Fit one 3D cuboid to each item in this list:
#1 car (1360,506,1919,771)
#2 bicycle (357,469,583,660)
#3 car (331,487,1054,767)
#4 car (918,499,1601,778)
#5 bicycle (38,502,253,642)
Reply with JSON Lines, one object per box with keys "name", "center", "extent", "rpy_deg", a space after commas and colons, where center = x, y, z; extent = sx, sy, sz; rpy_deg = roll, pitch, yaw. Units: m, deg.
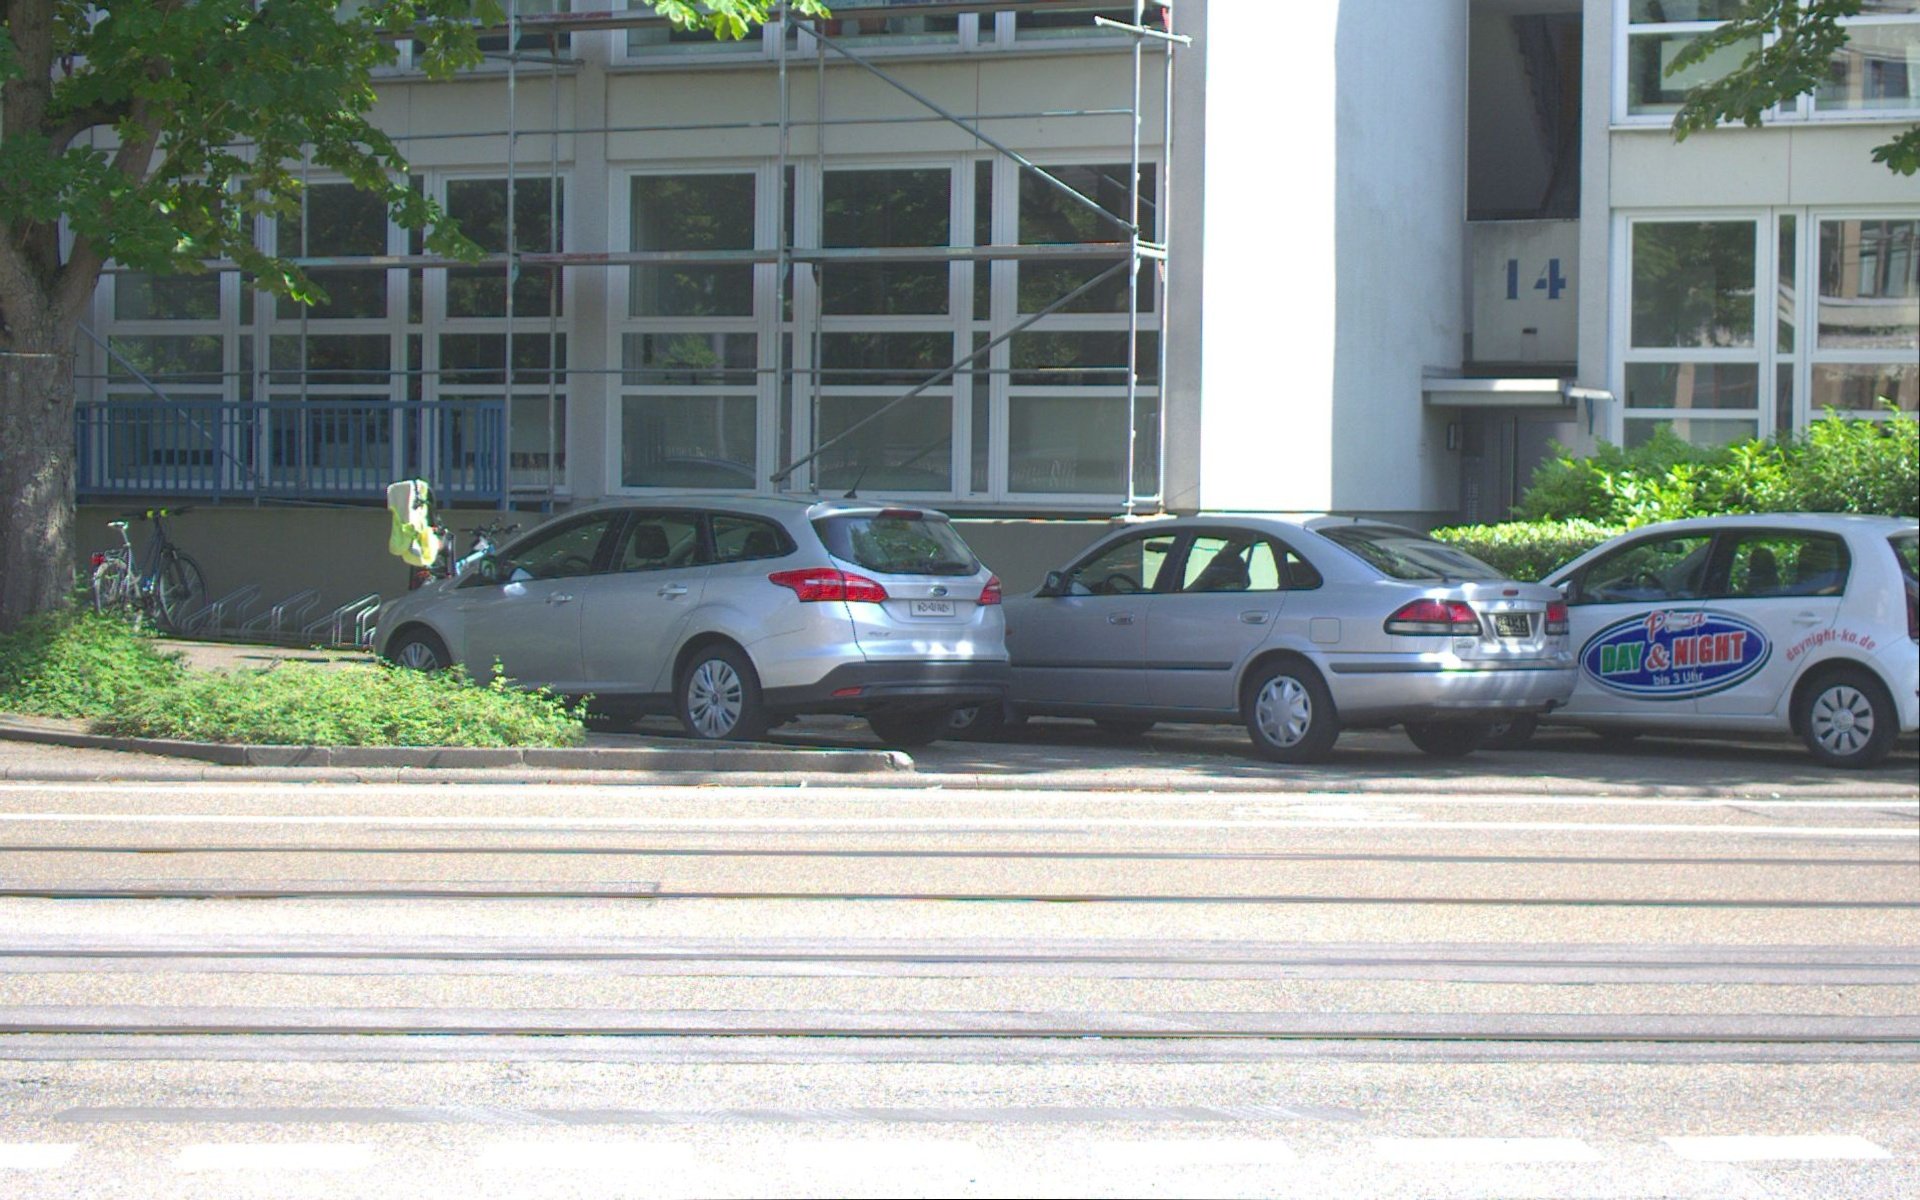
{"name": "car", "center": [4.525, 0.173, 21.056], "extent": [3.942, 1.481, 1.609], "rpy_deg": [1, 2, 43]}
{"name": "bicycle", "center": [-3.858, -0.300, 27.256], "extent": [0.662, 1.448, 2.087], "rpy_deg": [2, 2, 28]}
{"name": "car", "center": [-1.704, 0.084, 20.799], "extent": [4.432, 1.481, 1.780], "rpy_deg": [2, 2, 42]}
{"name": "car", "center": [1.725, 0.160, 20.696], "extent": [3.942, 1.481, 1.609], "rpy_deg": [2, 3, 44]}
{"name": "bicycle", "center": [-6.611, -0.255, 28.042], "extent": [0.741, 1.082, 2.202], "rpy_deg": [1, 2, 15]}
